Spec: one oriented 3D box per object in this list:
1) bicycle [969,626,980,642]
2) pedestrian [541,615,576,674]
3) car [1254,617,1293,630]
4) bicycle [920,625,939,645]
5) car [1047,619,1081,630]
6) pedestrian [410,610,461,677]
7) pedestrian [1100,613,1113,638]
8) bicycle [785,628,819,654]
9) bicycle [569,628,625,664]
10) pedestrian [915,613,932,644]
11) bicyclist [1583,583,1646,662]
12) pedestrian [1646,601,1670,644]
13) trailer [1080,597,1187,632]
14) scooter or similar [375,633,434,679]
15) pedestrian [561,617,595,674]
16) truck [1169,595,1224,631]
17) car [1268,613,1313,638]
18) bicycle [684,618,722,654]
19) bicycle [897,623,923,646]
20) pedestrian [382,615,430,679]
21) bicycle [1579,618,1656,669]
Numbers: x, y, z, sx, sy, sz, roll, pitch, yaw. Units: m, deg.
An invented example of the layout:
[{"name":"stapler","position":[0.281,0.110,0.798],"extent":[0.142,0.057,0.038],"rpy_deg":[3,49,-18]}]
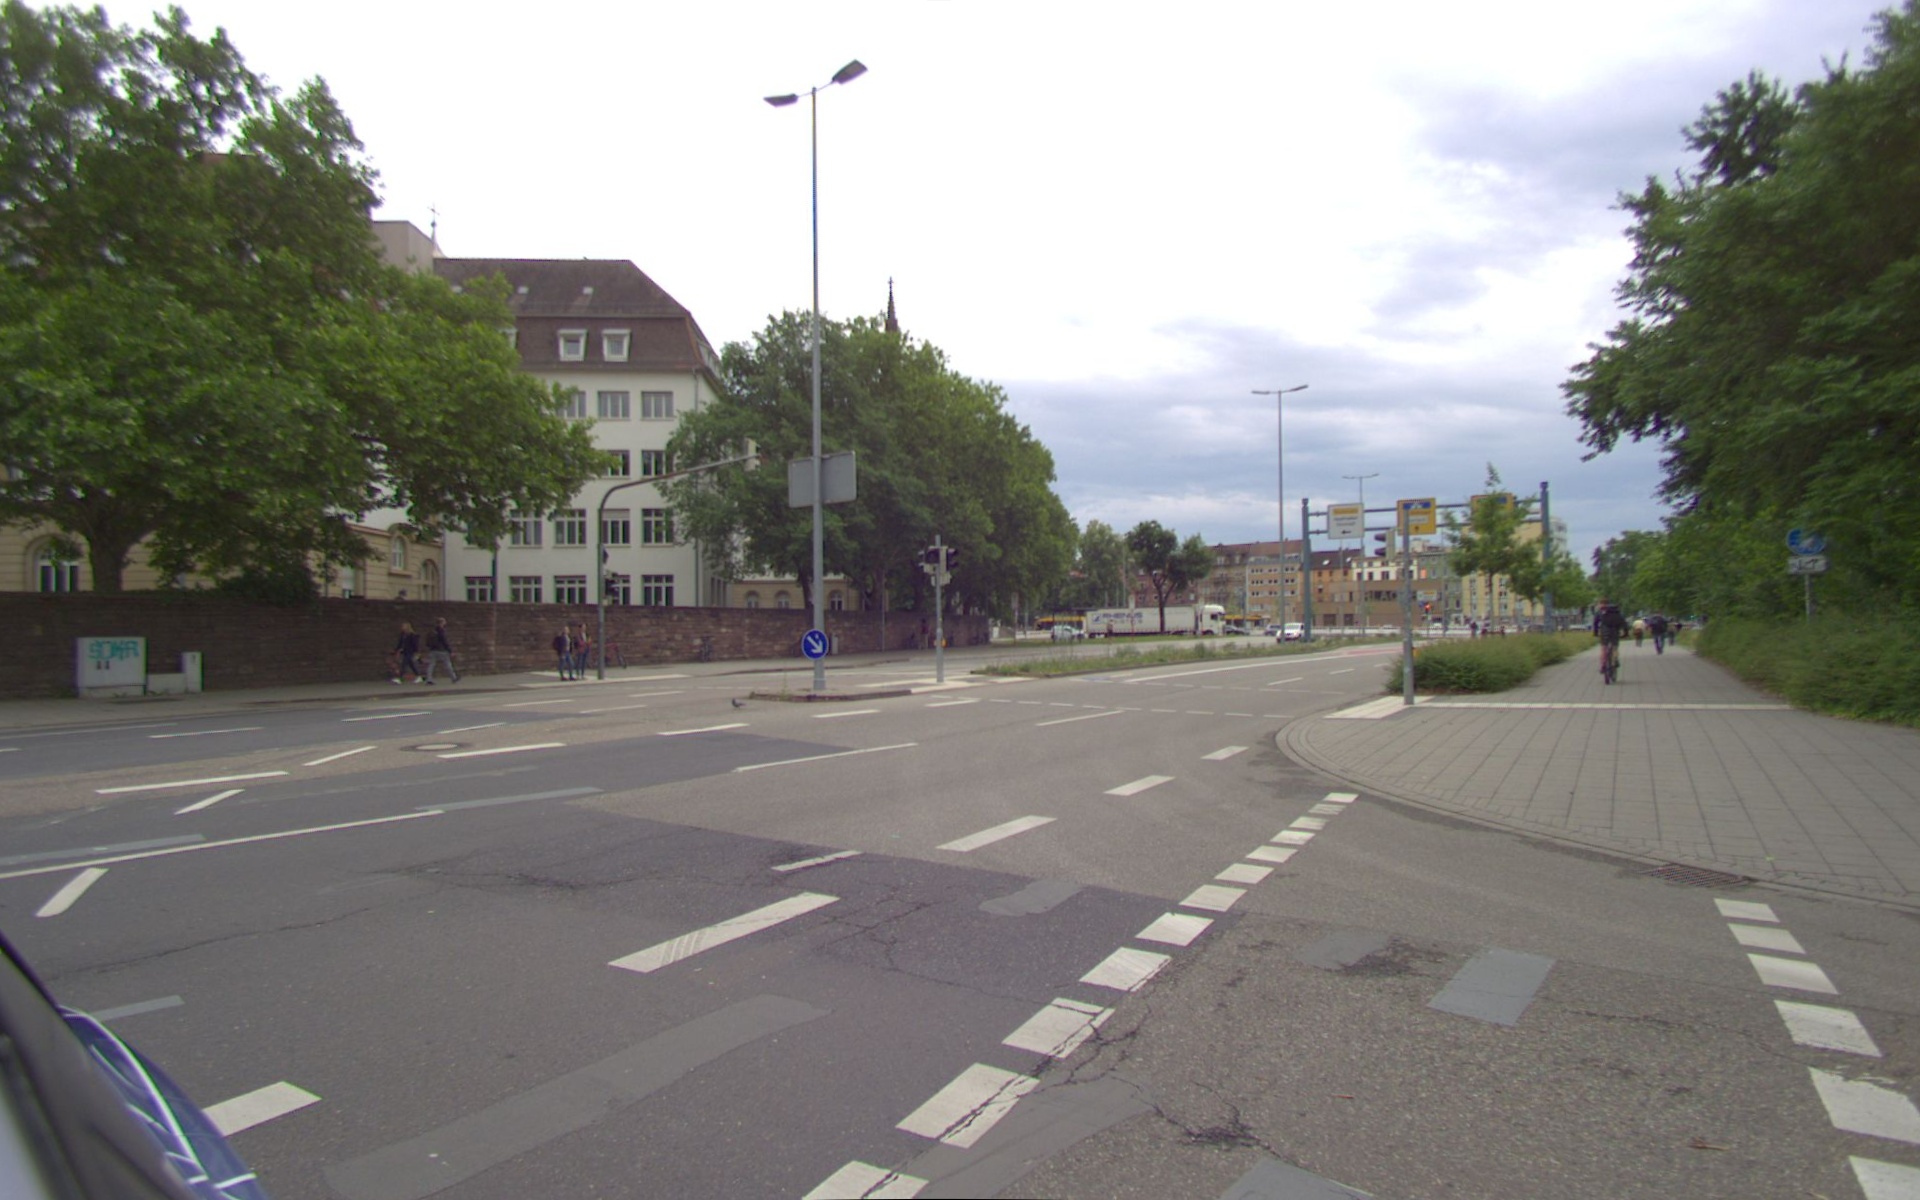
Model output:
[{"name":"bicycle","position":[1.074,2.524,75.701],"extent":[0.502,1.157,2.241],"rpy_deg":[0,-1,9]},{"name":"pedestrian","position":[-12.070,1.334,30.438],"extent":[0.732,1.752,0.664],"rpy_deg":[-1,-1,27]},{"name":"car","position":[36.204,2.745,116.875],"extent":[3.984,1.386,1.980],"rpy_deg":[-2,-2,30]},{"name":"bicycle","position":[-1.875,2.176,63.071],"extent":[0.503,1.157,2.235],"rpy_deg":[0,-1,17]},{"name":"car","position":[13.461,3.156,130.916],"extent":[3.984,1.386,1.980],"rpy_deg":[-2,-2,30]},{"name":"pedestrian","position":[-14.450,1.173,27.892],"extent":[0.754,1.802,0.997],"rpy_deg":[0,-1,29]},{"name":"pedestrian","position":[10.267,1.786,70.860],"extent":[0.640,1.719,0.701],"rpy_deg":[-2,-3,30]},{"name":"bicycle","position":[-7.417,1.904,47.620],"extent":[0.660,1.157,2.142],"rpy_deg":[0,-1,19]},{"name":"bicycle","position":[-12.643,1.568,35.288],"extent":[0.579,1.194,2.140],"rpy_deg":[0,-1,21]},{"name":"pedestrian","position":[-2.154,1.667,59.049],"extent":[0.784,1.773,0.768],"rpy_deg":[-1,-2,18]},{"name":"bicyclist","position":[14.089,0.483,21.808],"extent":[0.759,1.620,0.919],"rpy_deg":[-4,-2,13]},{"name":"pedestrian","position":[27.331,0.874,39.647],"extent":[0.642,1.677,0.798],"rpy_deg":[-2,-2,42]},{"name":"trailer","position":[20.560,1.779,120.708],"extent":[12.324,3.852,2.816],"rpy_deg":[-2,0,30]},{"name":"scooter or similar","position":[-15.873,1.584,28.921],"extent":[1.391,1.239,0.496],"rpy_deg":[1,-1,-42]},{"name":"pedestrian","position":[-11.715,1.379,31.056],"extent":[0.776,1.706,0.636],"rpy_deg":[0,-1,29]},{"name":"truck","position":[27.301,1.525,116.836],"extent":[5.427,3.852,2.817],"rpy_deg":[-2,0,29]},{"name":"car","position":[26.404,2.005,80.807],"extent":[2.042,1.710,5.314],"rpy_deg":[-5,-2,33]},{"name":"bicycle","position":[-10.524,1.514,41.514],"extent":[0.661,1.391,2.580],"rpy_deg":[-1,-4,6]},{"name":"bicycle","position":[-2.914,2.011,59.383],"extent":[0.660,1.275,2.526],"rpy_deg":[0,-1,19]},{"name":"pedestrian","position":[-15.346,1.290,28.050],"extent":[0.788,1.677,0.801],"rpy_deg":[6,2,30]},{"name":"bicycle","position":[14.127,0.924,21.807],"extent":[0.775,1.045,1.856],"rpy_deg":[-2,-2,14]}]
